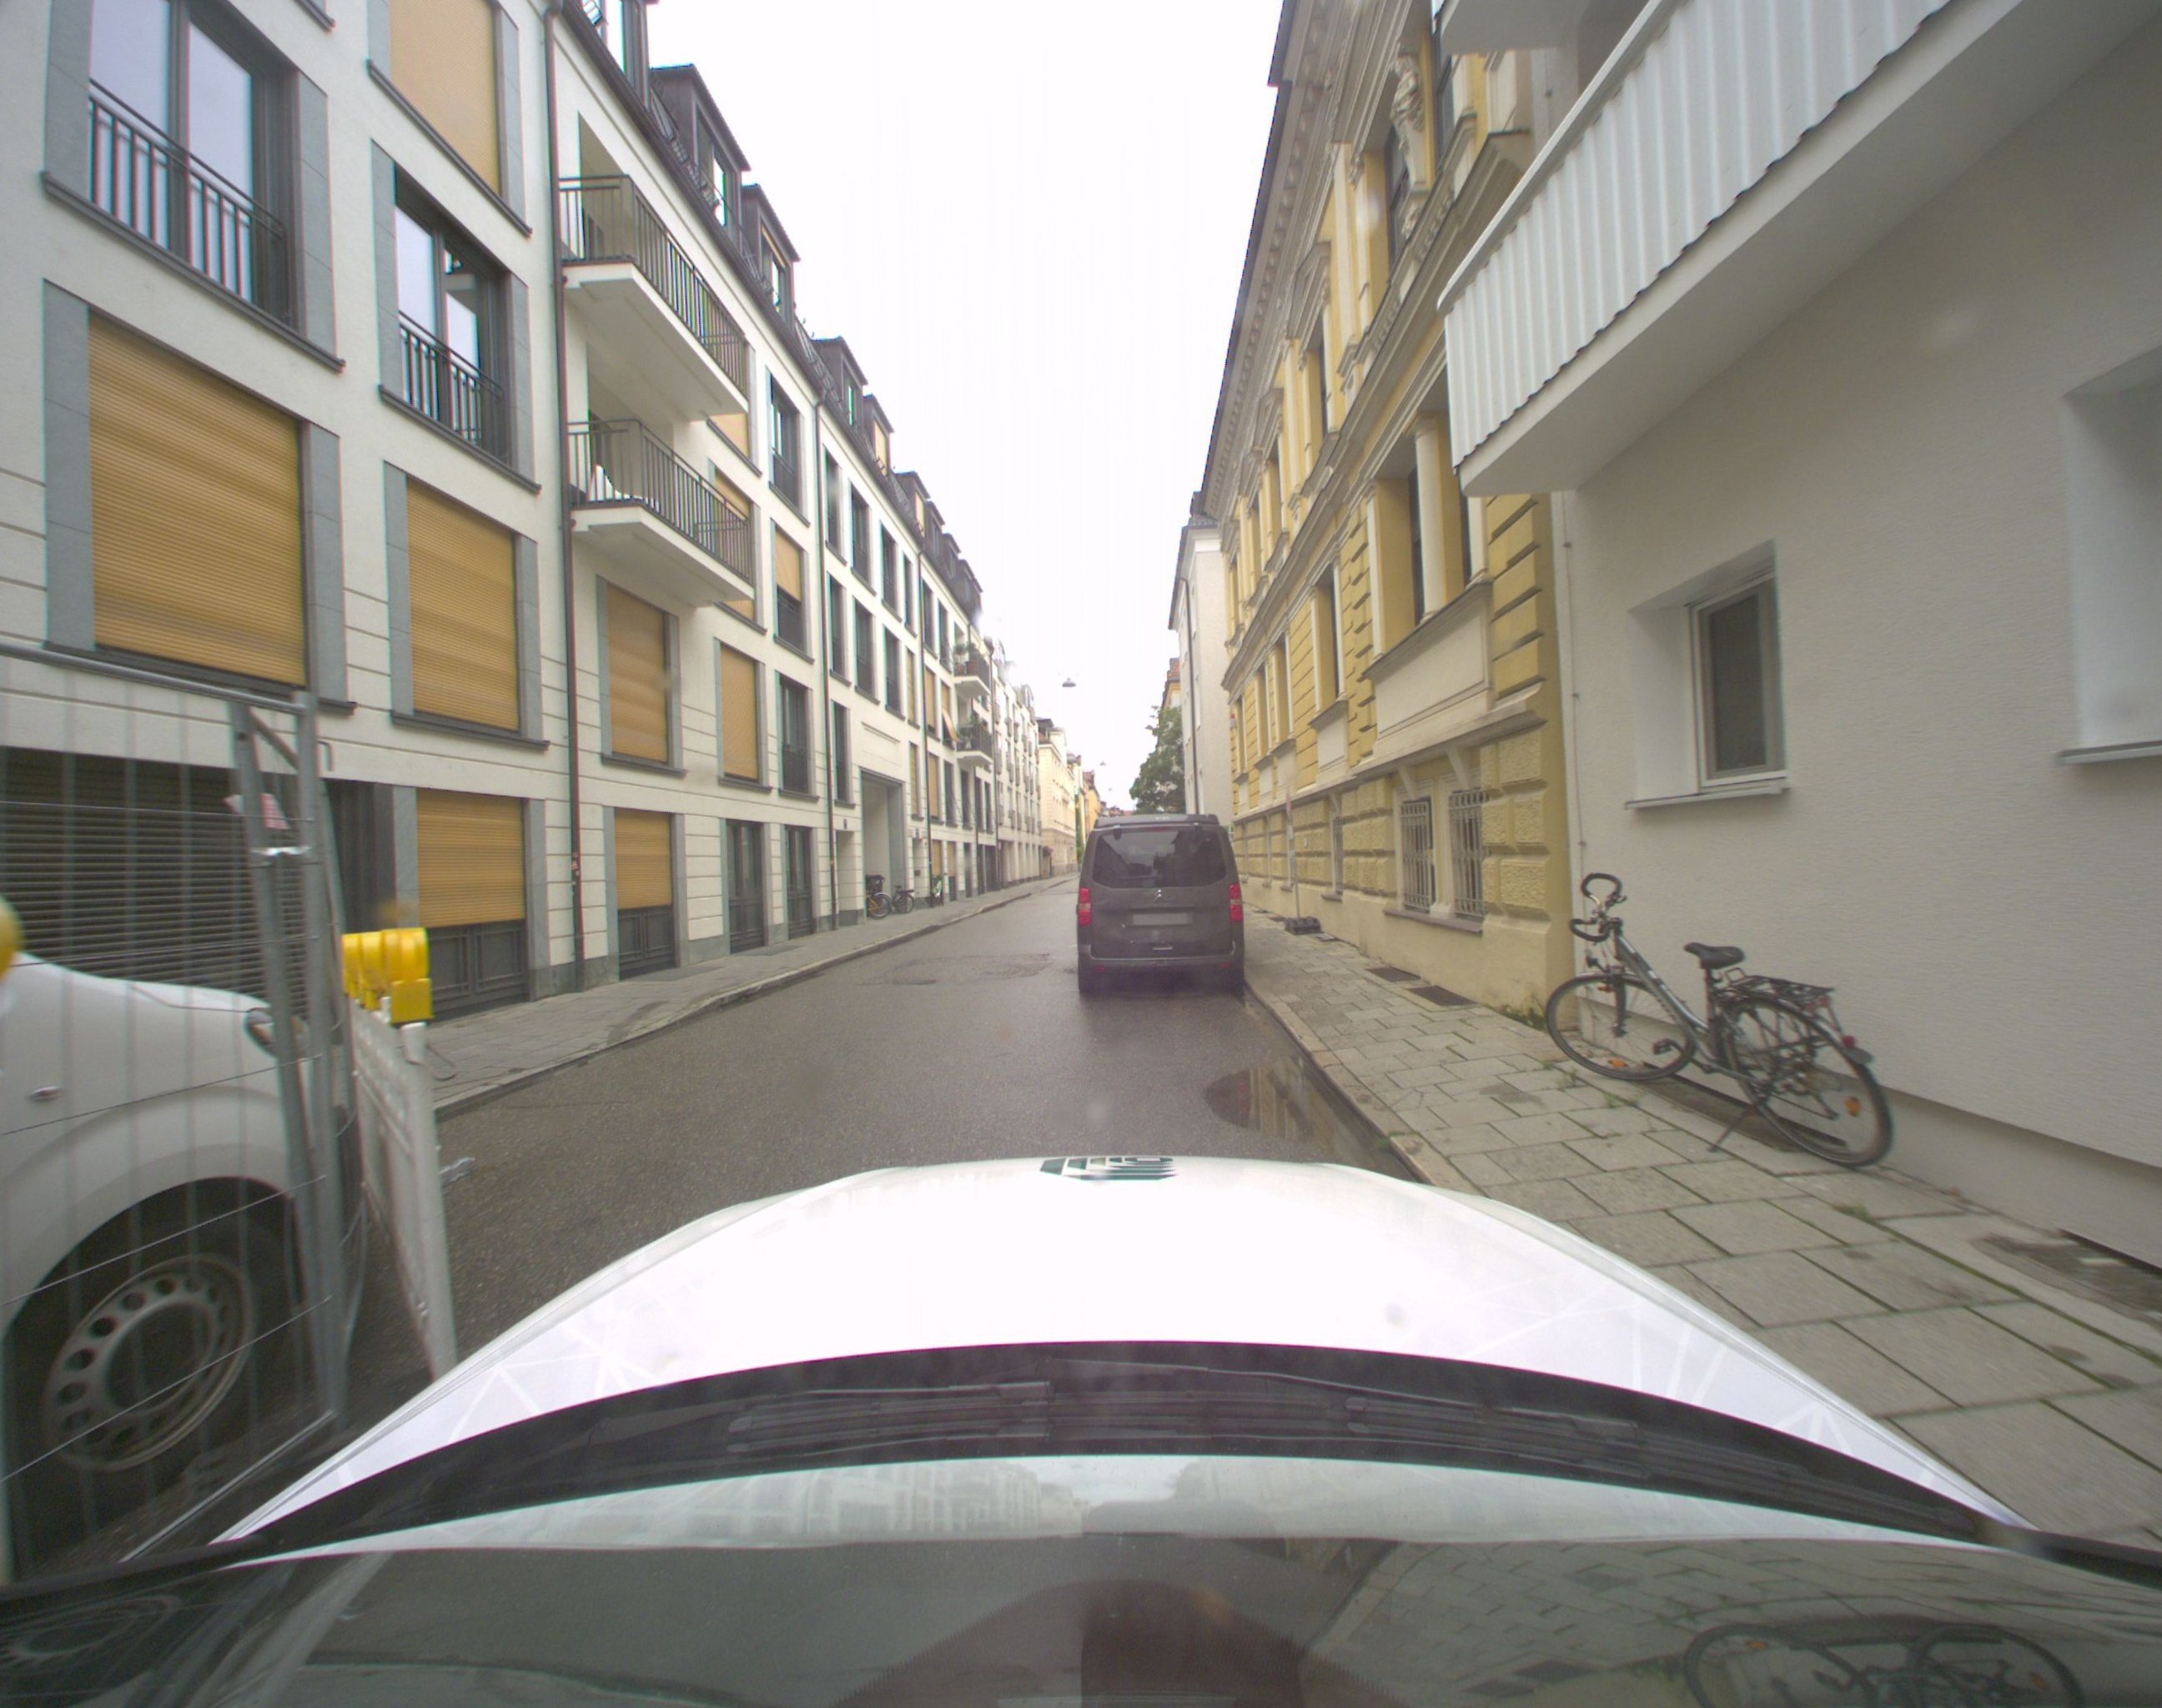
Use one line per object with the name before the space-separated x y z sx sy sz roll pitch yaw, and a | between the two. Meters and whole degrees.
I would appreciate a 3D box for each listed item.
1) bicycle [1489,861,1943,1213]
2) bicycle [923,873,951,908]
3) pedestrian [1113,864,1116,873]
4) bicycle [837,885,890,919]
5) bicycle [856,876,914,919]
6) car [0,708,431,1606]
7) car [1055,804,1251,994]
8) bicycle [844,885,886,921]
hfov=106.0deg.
bicycle | 2.697 0.652 3.805 0.635 1.153 1.917 -5 0 4
bicycle | -4.970 1.236 28.253 0.338 1.146 2.194 -3 -1 5
pedestrian | 6.474 2.736 156.483 0.536 1.654 0.377 -3 0 3
bicycle | -6.217 1.368 23.294 1.396 0.888 0.376 -2 1 -31
bicycle | -5.871 1.285 24.462 1.696 1.193 0.375 -2 1 -43
car | -3.257 0.650 0.296 1.898 1.897 5.088 -2 -1 0
car | 0.846 0.485 10.762 1.985 1.932 4.663 -1 0 3
bicycle | -6.003 1.355 22.634 1.070 0.947 0.305 -2 1 -31
